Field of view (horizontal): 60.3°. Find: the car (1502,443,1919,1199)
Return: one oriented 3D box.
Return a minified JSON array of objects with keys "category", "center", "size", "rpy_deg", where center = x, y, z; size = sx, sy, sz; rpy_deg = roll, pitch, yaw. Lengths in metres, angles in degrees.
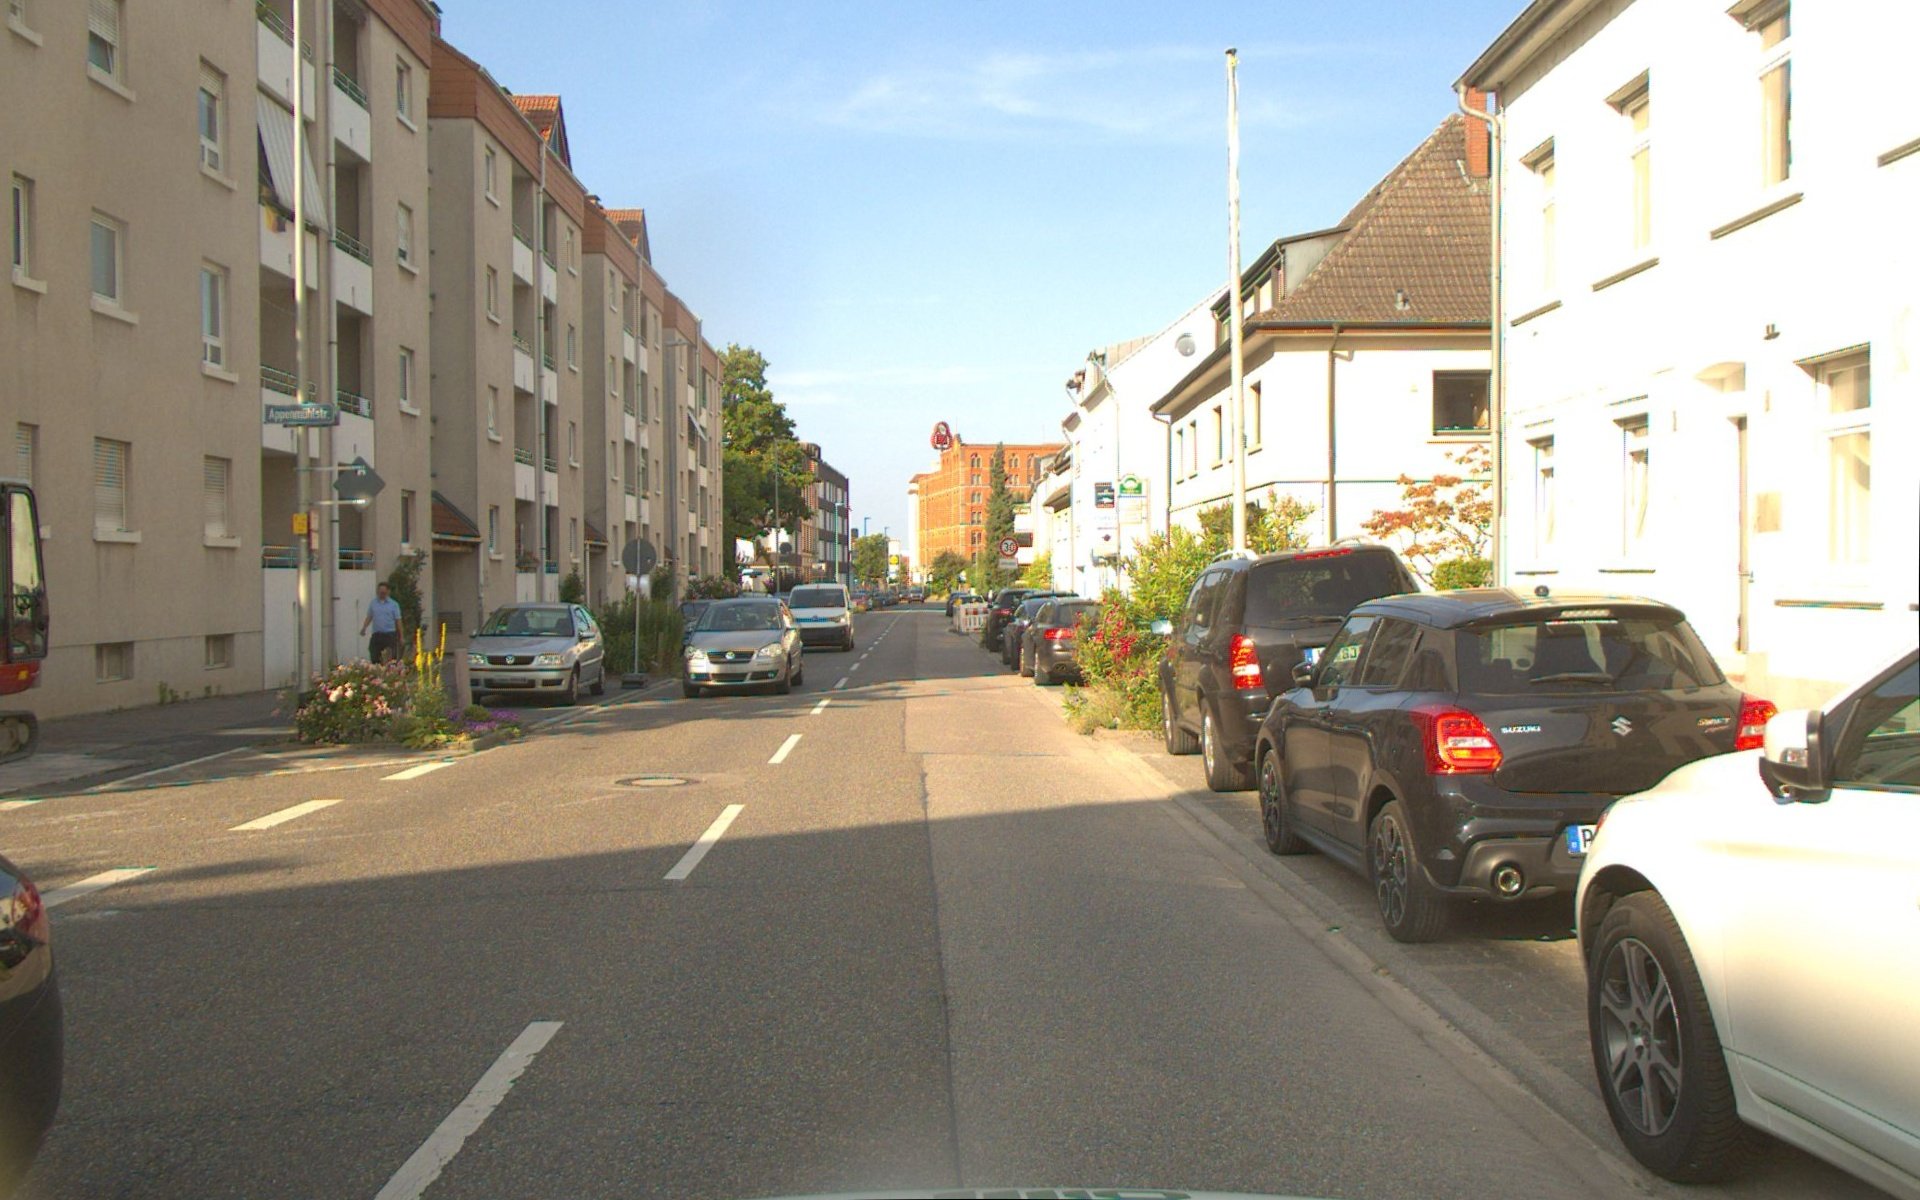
[{"category":"car","center":[2.679,0.523,2.924],"size":[1.776,1.713,4.475],"rpy_deg":[-3,1,-2]}]

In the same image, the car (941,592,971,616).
[{"category":"car","center":[-0.308,0.219,108.820],"size":[1.821,1.497,3.999],"rpy_deg":[1,0,-2]}]

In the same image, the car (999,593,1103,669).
[{"category":"car","center":[1.813,0.593,34.306],"size":[1.793,1.445,4.608],"rpy_deg":[0,0,-1]}]

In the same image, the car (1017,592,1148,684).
[{"category":"car","center":[2.041,0.595,28.619],"size":[1.744,1.445,4.494],"rpy_deg":[0,0,-3]}]

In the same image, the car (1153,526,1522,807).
[{"category":"car","center":[2.889,0.421,13.779],"size":[2.033,1.888,4.611],"rpy_deg":[-2,1,1]}]

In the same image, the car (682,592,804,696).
[{"category":"car","center":[-3.356,0.639,26.117],"size":[1.585,1.480,3.683],"rpy_deg":[-1,1,-3]}]

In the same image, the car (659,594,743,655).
[{"category":"car","center":[-6.518,0.584,41.989],"size":[1.652,1.430,4.082],"rpy_deg":[0,0,-2]}]

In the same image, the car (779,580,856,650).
[{"category":"car","center":[-3.826,0.381,45.059],"size":[1.883,1.798,4.336],"rpy_deg":[-1,0,-3]}]

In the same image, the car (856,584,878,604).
[{"category":"car","center":[-9.010,-0.561,159.862],"size":[1.953,1.914,3.999],"rpy_deg":[0,0,-1]}]

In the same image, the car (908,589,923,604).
[{"category":"car","center":[-5.270,-0.404,194.791],"size":[1.728,1.644,3.999],"rpy_deg":[-1,0,-2]}]

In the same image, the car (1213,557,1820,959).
[{"category":"car","center":[2.590,0.628,8.939],"size":[1.557,1.555,4.612],"rpy_deg":[-2,0,-2]}]

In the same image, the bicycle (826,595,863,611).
[{"category":"bicycle","center":[-8.807,0.218,125.854],"size":[2.716,1.164,1.143],"rpy_deg":[-1,0,-1]}]

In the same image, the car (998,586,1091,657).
[{"category":"car","center":[1.963,0.479,39.697],"size":[1.793,1.587,4.315],"rpy_deg":[-1,0,-3]}]

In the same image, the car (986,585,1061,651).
[{"category":"car","center":[1.684,0.515,45.001],"size":[1.792,1.659,4.462],"rpy_deg":[2,-1,0]}]

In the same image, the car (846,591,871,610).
[{"category":"car","center":[-8.198,0.001,133.942],"size":[1.803,1.489,3.584],"rpy_deg":[0,0,-1]}]

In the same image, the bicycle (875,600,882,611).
[{"category":"bicycle","center":[-6.874,0.464,139.757],"size":[0.596,0.959,1.810],"rpy_deg":[0,1,-1]}]

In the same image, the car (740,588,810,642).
[{"category":"car","center":[-5.668,0.423,51.120],"size":[1.691,1.582,3.965],"rpy_deg":[0,0,0]}]

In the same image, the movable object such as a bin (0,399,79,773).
[{"category":"movable object such as a bin","center":[-8.969,-0.107,13.471],"size":[1.615,3.193,3.898],"rpy_deg":[-1,1,-3]}]

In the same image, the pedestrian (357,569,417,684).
[{"category":"pedestrian","center":[-9.285,0.419,26.824],"size":[0.704,1.850,0.745],"rpy_deg":[0,1,-1]}]

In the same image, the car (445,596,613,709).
[{"category":"car","center":[-6.187,0.702,24.129],"size":[1.608,1.420,3.669],"rpy_deg":[-3,0,-3]}]

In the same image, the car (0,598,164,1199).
[{"category":"car","center":[-2.537,0.747,1.441],"size":[1.793,1.445,4.207],"rpy_deg":[-1,0,-3]}]

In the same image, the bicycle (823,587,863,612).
[{"category":"bicycle","center":[-8.771,-0.052,124.082],"size":[2.858,1.808,1.202],"rpy_deg":[-1,0,-1]}]

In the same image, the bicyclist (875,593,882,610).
[{"category":"bicyclist","center":[-6.874,0.120,139.782],"size":[0.579,1.467,0.750],"rpy_deg":[0,0,-2]}]
